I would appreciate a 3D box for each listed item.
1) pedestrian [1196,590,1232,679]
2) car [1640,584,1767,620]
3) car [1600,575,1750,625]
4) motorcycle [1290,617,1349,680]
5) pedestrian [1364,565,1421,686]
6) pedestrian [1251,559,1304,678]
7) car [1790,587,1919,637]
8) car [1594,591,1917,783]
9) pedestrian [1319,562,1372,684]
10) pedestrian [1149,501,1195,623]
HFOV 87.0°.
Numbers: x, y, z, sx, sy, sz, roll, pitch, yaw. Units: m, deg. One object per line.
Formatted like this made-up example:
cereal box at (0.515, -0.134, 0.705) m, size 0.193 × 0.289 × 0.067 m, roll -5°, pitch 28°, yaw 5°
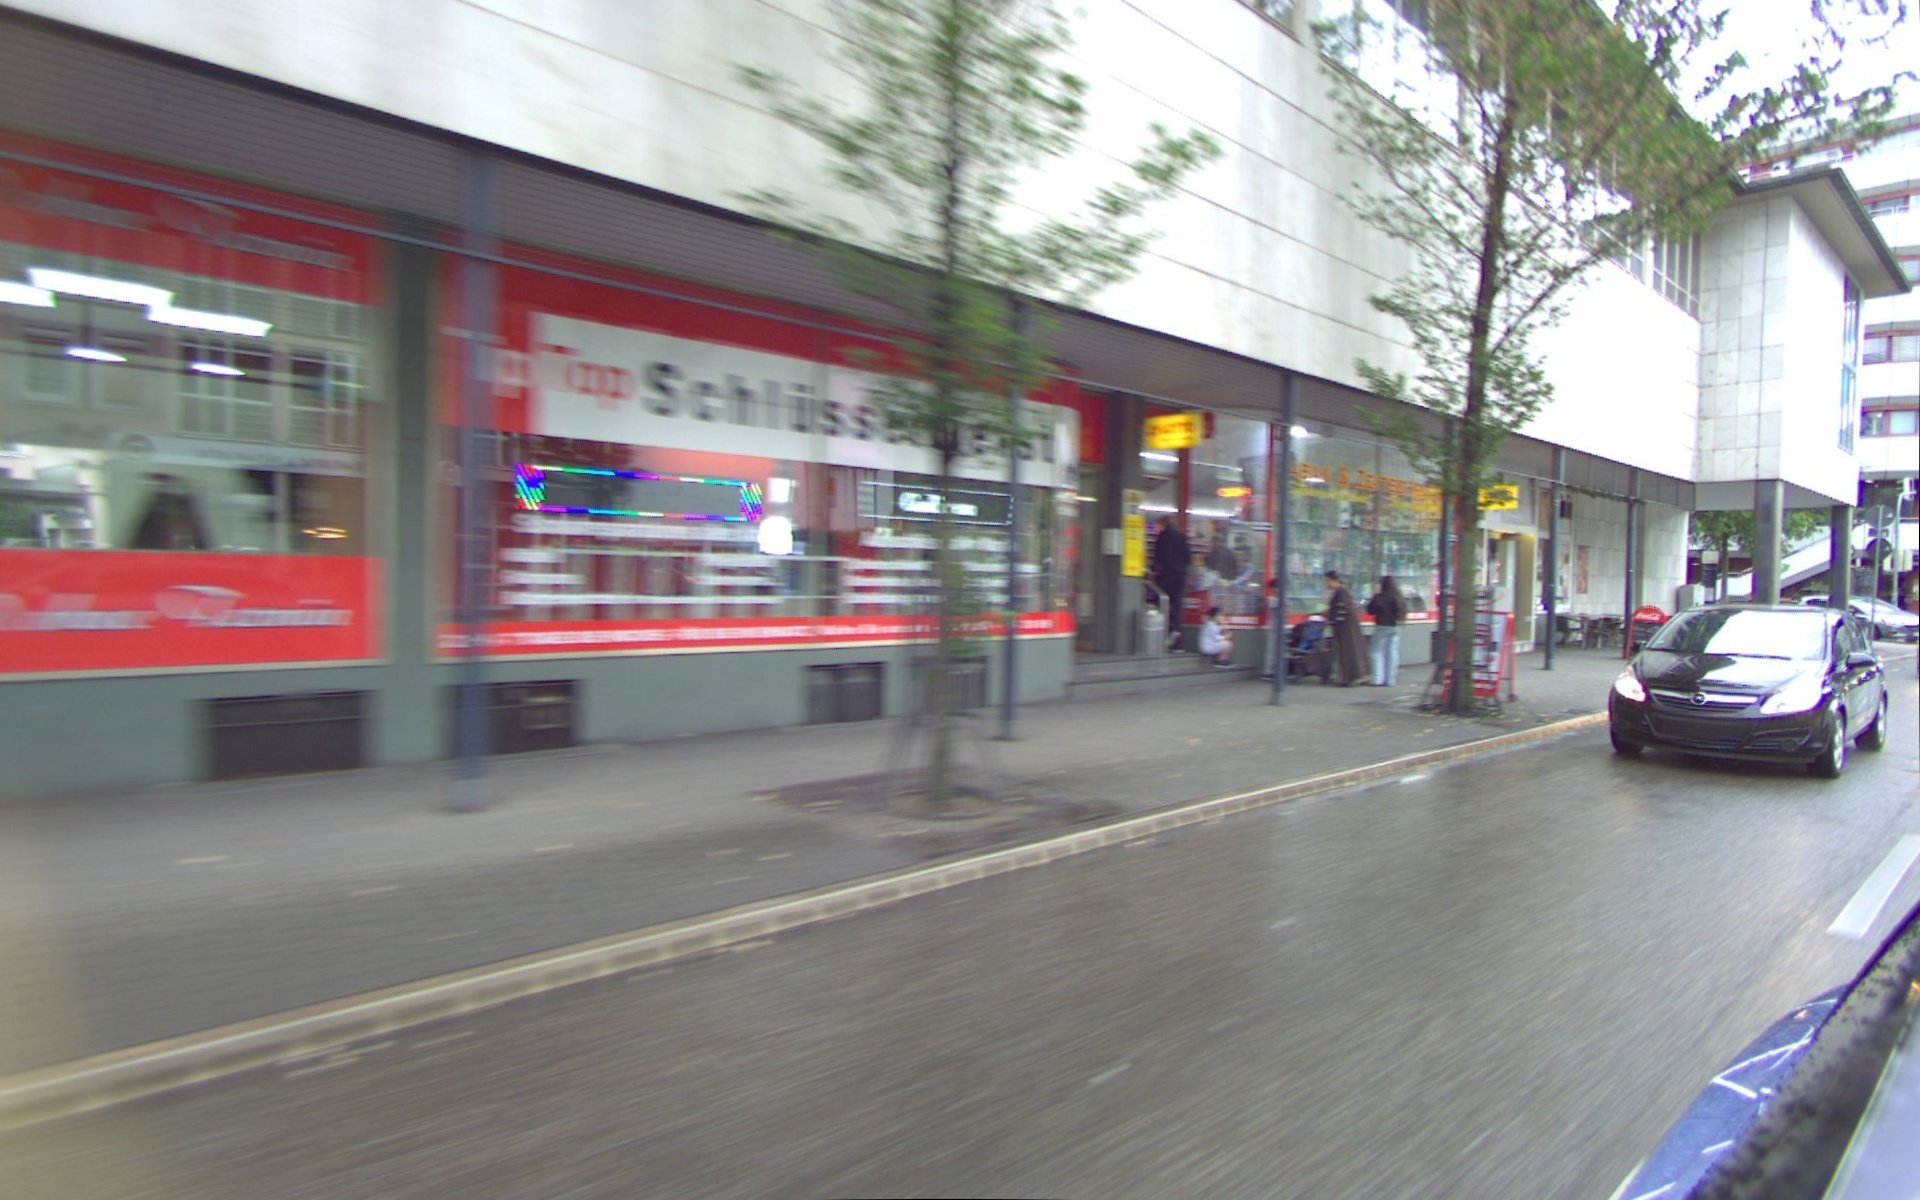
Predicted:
pedestrian at (3.409, 0.447, 13.597) m, size 0.424 × 1.150 × 0.507 m, roll 2°, pitch 2°, yaw 14°
car at (33.062, 0.037, 45.119) m, size 1.756 × 1.437 × 4.268 m, roll 0°, pitch 2°, yaw -41°
car at (28.810, -0.055, 40.916) m, size 1.822 × 1.781 × 4.608 m, roll -2°, pitch 3°, yaw -37°
motorcycle at (4.899, 0.643, 13.765) m, size 0.904 × 0.814 × 0.325 m, roll 1°, pitch 2°, yaw -41°
pedestrian at (5.845, 0.334, 13.680) m, size 0.499 × 1.585 × 0.431 m, roll 2°, pitch 1°, yaw -4°
pedestrian at (4.360, 0.242, 13.906) m, size 0.500 × 1.585 × 0.430 m, roll 1°, pitch 2°, yaw -36°
car at (30.497, 0.344, 33.789) m, size 1.959 × 1.495 × 4.007 m, roll 0°, pitch 1°, yaw -9°
car at (7.822, 0.678, 9.851) m, size 3.675 × 1.475 × 1.712 m, roll 0°, pitch 2°, yaw -40°
pedestrian at (5.134, 0.291, 13.506) m, size 0.501 × 1.585 × 0.430 m, roll 2°, pitch 1°, yaw 6°
pedestrian at (2.822, -0.506, 13.490) m, size 0.501 × 1.585 × 0.430 m, roll 2°, pitch 1°, yaw 6°
